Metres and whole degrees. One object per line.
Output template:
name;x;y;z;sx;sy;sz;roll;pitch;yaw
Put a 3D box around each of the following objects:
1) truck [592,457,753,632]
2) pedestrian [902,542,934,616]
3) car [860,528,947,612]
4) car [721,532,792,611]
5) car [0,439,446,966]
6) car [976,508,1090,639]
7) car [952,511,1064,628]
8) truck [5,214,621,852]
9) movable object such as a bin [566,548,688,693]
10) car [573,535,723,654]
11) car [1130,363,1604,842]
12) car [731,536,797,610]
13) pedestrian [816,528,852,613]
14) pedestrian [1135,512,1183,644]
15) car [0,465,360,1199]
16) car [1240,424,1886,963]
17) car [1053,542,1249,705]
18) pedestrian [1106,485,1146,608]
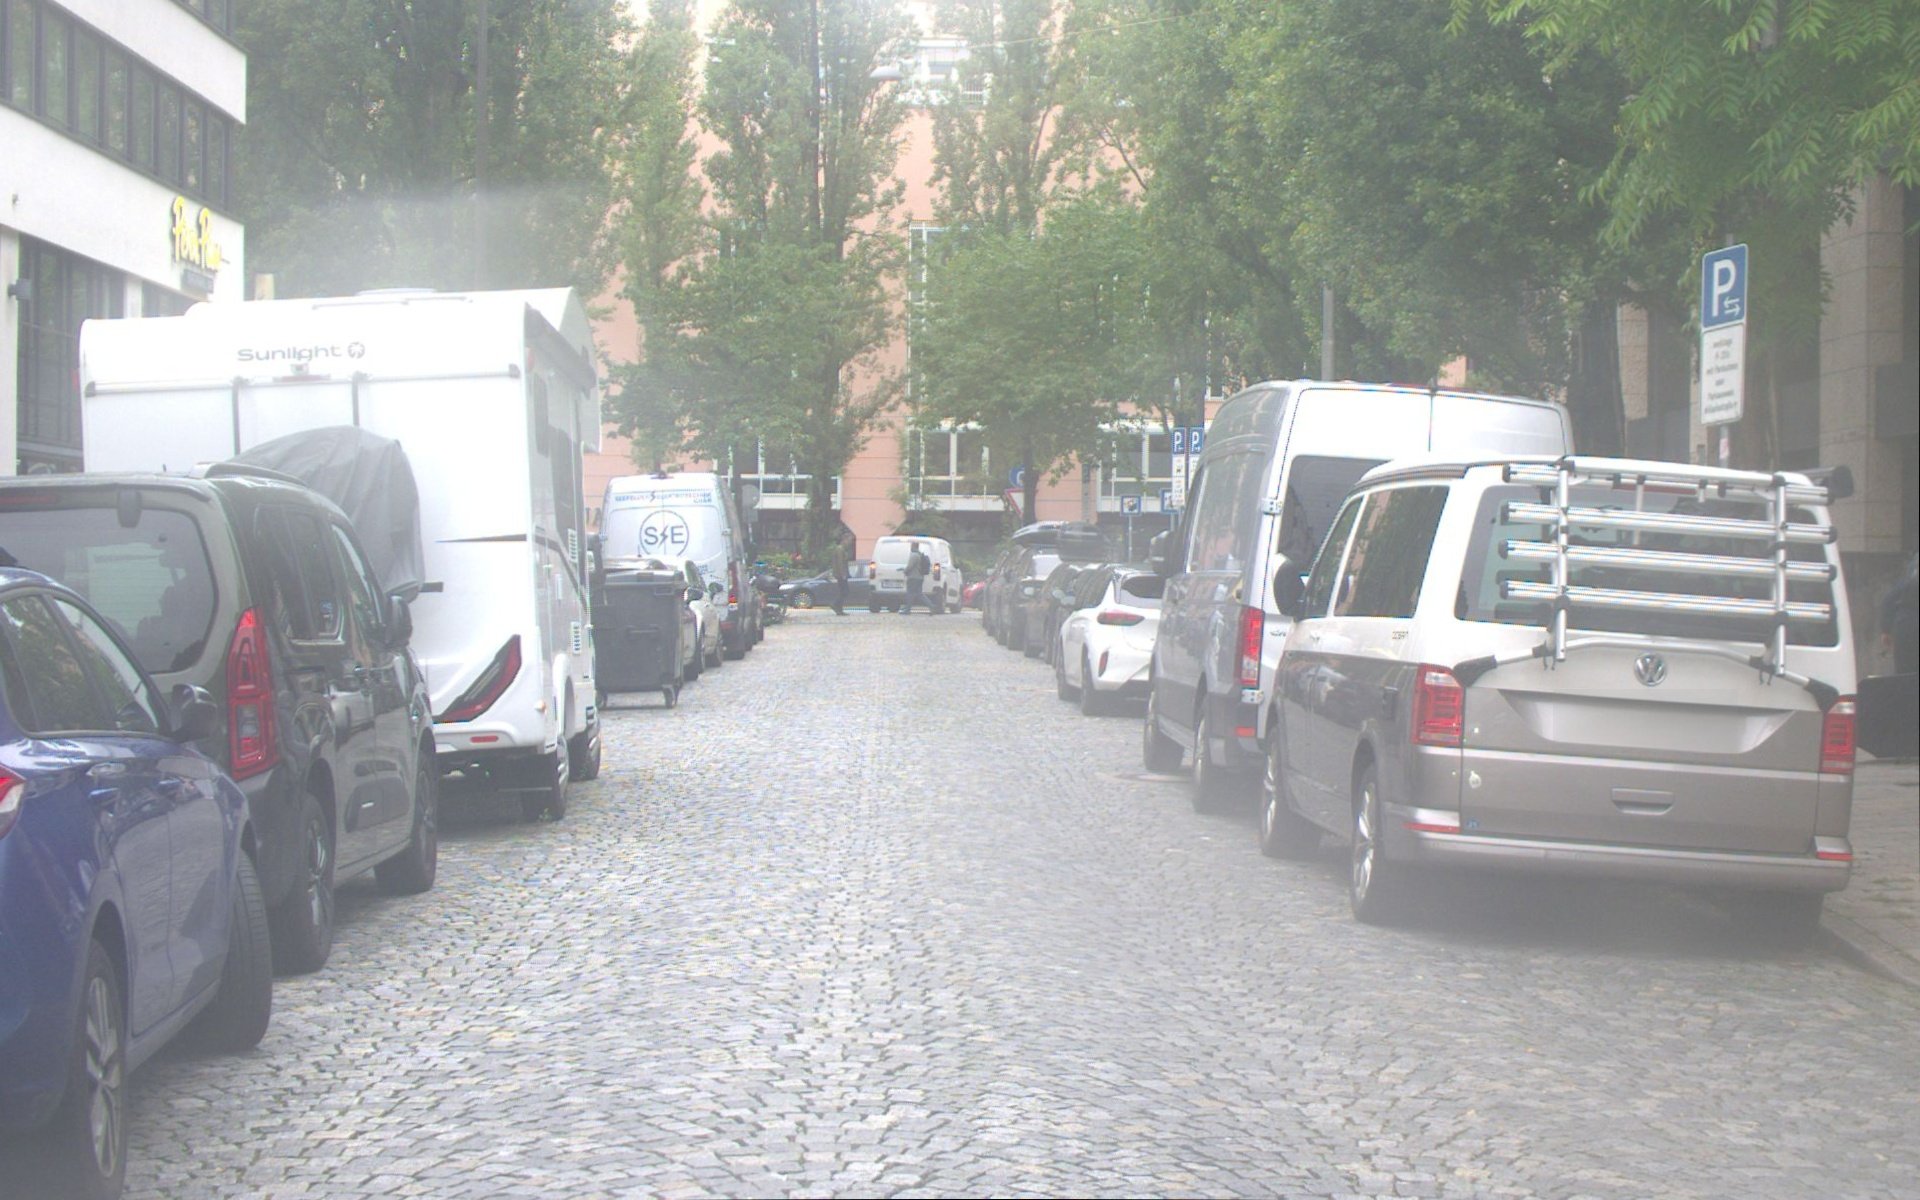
truck;-4.035;-0.772;48.822;1.993;2.338;4.068;1;0;-1
pedestrian;-0.954;-0.474;78.625;0.687;1.681;0.500;1;0;2
car;-1.336;-0.719;82.760;1.996;1.929;4.000;1;0;0
car;-4.089;-0.574;69.375;1.290;1.534;3.119;1;0;-1
car;-3.176;0.302;13.464;1.894;1.745;4.168;0;1;-3
car;1.159;-0.434;55.865;1.743;2.024;3.865;1;0;0
car;0.823;-0.525;60.210;1.868;1.954;4.000;1;0;0
truck;-3.420;-0.394;19.719;2.508;3.021;6.385;-1;1;-2
movable object such as a bin;-3.230;0.189;33.472;1.064;1.359;1.290;1;0;-1
car;-3.993;-0.080;44.415;1.662;1.450;3.548;1;0;-1
car;2.318;-0.051;21.200;1.895;2.418;5.612;5;1;-2
car;-4.229;-0.574;74.312;1.276;1.536;3.119;1;0;-1
pedestrian;-2.852;-0.670;77.891;0.725;1.904;0.641;1;0;1
pedestrian;3.351;-0.371;57.959;0.711;2.184;0.813;1;0;0
car;-2.736;0.441;8.418;1.940;1.454;4.058;1;0;-2
car;2.495;0.336;15.521;1.800;1.943;4.861;4;0;-2
car;1.830;0.206;33.820;1.599;1.481;3.479;1;0;-2
pedestrian;3.275;-1.064;67.844;0.711;2.417;0.813;-1;2;0
